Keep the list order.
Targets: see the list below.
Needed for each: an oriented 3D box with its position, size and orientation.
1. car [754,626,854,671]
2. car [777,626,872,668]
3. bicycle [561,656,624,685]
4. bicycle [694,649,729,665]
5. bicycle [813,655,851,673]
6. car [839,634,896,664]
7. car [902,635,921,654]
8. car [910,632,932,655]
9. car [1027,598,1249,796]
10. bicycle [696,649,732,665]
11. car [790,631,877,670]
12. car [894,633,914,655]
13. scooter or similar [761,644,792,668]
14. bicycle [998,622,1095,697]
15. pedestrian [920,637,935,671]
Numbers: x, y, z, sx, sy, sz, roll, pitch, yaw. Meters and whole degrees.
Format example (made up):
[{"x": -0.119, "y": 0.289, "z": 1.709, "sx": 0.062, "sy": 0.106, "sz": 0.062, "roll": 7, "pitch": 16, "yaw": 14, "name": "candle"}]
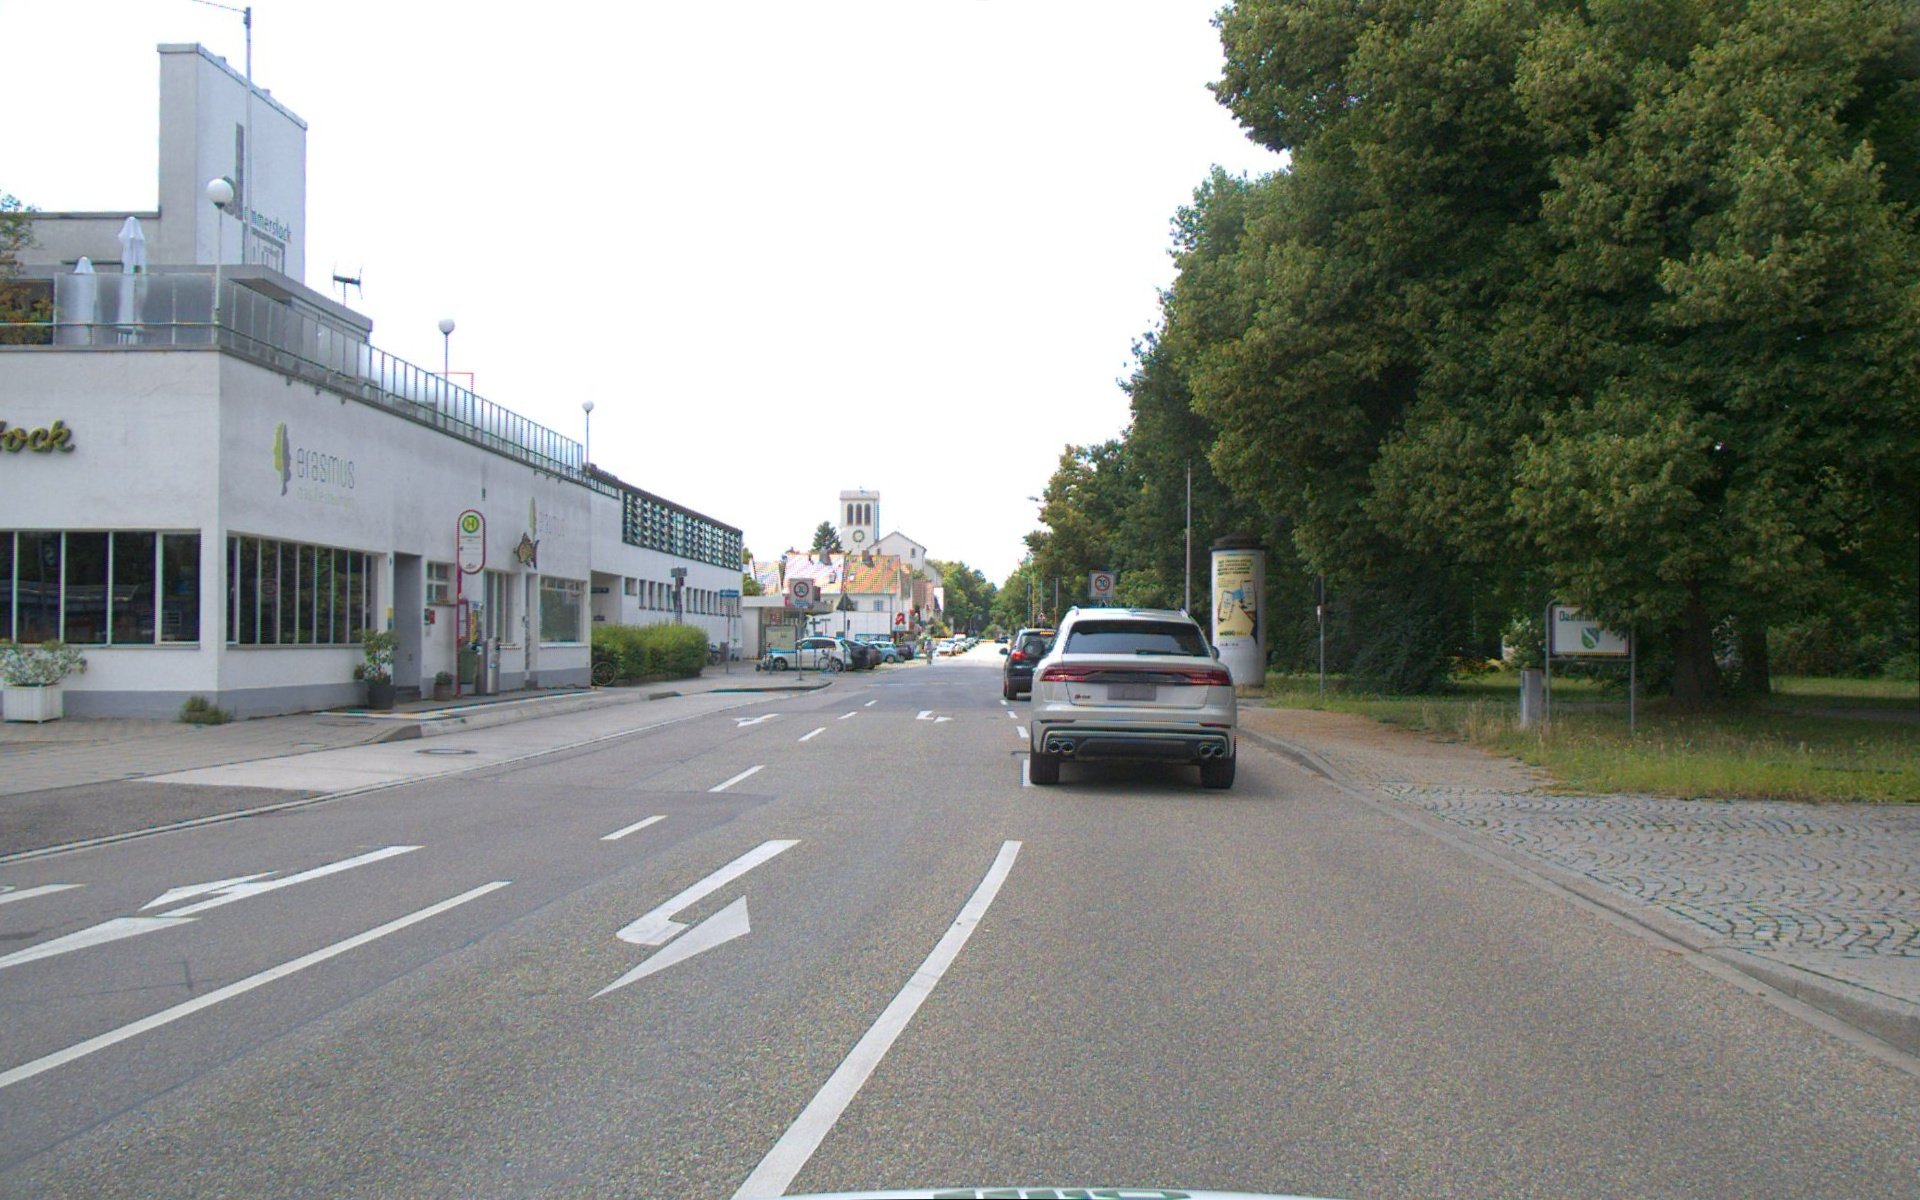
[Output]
[{"x": -7.149, "y": 2.249, "z": 76.251, "sx": 4.540, "sy": 2.049, "sz": 1.998, "roll": 0, "pitch": -3, "yaw": -4, "name": "car"}, {"x": -6.566, "y": 2.301, "z": 80.558, "sx": 4.540, "sy": 2.049, "sz": 1.998, "roll": 0, "pitch": -3, "yaw": -4, "name": "car"}, {"x": -9.922, "y": 1.900, "z": 44.693, "sx": 1.643, "sy": 0.771, "sz": 0.409, "roll": 0, "pitch": -1, "yaw": -17, "name": "bicycle"}, {"x": -12.508, "y": 2.881, "z": 83.412, "sx": 1.648, "sy": 0.771, "sz": 0.566, "roll": 2, "pitch": -2, "yaw": -25, "name": "bicycle"}, {"x": -5.590, "y": 2.792, "z": 72.180, "sx": 1.636, "sy": 0.771, "sz": 0.570, "roll": 1, "pitch": -2, "yaw": -4, "name": "bicycle"}, {"x": -6.432, "y": 3.383, "z": 115.225, "sx": 3.909, "sy": 2.049, "sz": 1.998, "roll": 0, "pitch": -1, "yaw": -5, "name": "car"}, {"x": -5.143, "y": 4.674, "z": 173.981, "sx": 1.953, "sy": 2.049, "sz": 3.998, "roll": 0, "pitch": -1, "yaw": -2, "name": "car"}, {"x": -3.594, "y": 4.003, "z": 151.332, "sx": 1.953, "sy": 2.049, "sz": 3.998, "roll": 0, "pitch": -1, "yaw": -2, "name": "car"}, {"x": 1.840, "y": 0.902, "z": 17.072, "sx": 1.939, "sy": 1.713, "sz": 4.577, "roll": 1, "pitch": -1, "yaw": 6, "name": "car"}, {"x": -12.298, "y": 2.862, "z": 82.663, "sx": 1.648, "sy": 0.771, "sz": 0.566, "roll": 2, "pitch": -2, "yaw": -25, "name": "bicycle"}, {"x": -6.740, "y": 2.724, "z": 88.421, "sx": 4.540, "sy": 2.049, "sz": 1.998, "roll": 0, "pitch": -3, "yaw": -4, "name": "car"}, {"x": -5.465, "y": 4.273, "z": 161.063, "sx": 1.953, "sy": 2.049, "sz": 3.998, "roll": 0, "pitch": -1, "yaw": -2, "name": "car"}, {"x": -8.038, "y": 2.459, "z": 72.387, "sx": 0.615, "sy": 1.013, "sz": 1.976, "roll": 1, "pitch": -3, "yaw": -29, "name": "scooter or similar"}, {"x": 1.992, "y": 1.385, "z": 39.320, "sx": 1.953, "sy": 1.704, "sz": 4.206, "roll": 0, "pitch": -1, "yaw": -2, "name": "bicycle"}, {"x": -2.064, "y": 3.442, "z": 105.477, "sx": 0.890, "sy": 2.173, "sz": 1.014, "roll": 0, "pitch": -1, "yaw": 2, "name": "pedestrian"}]
